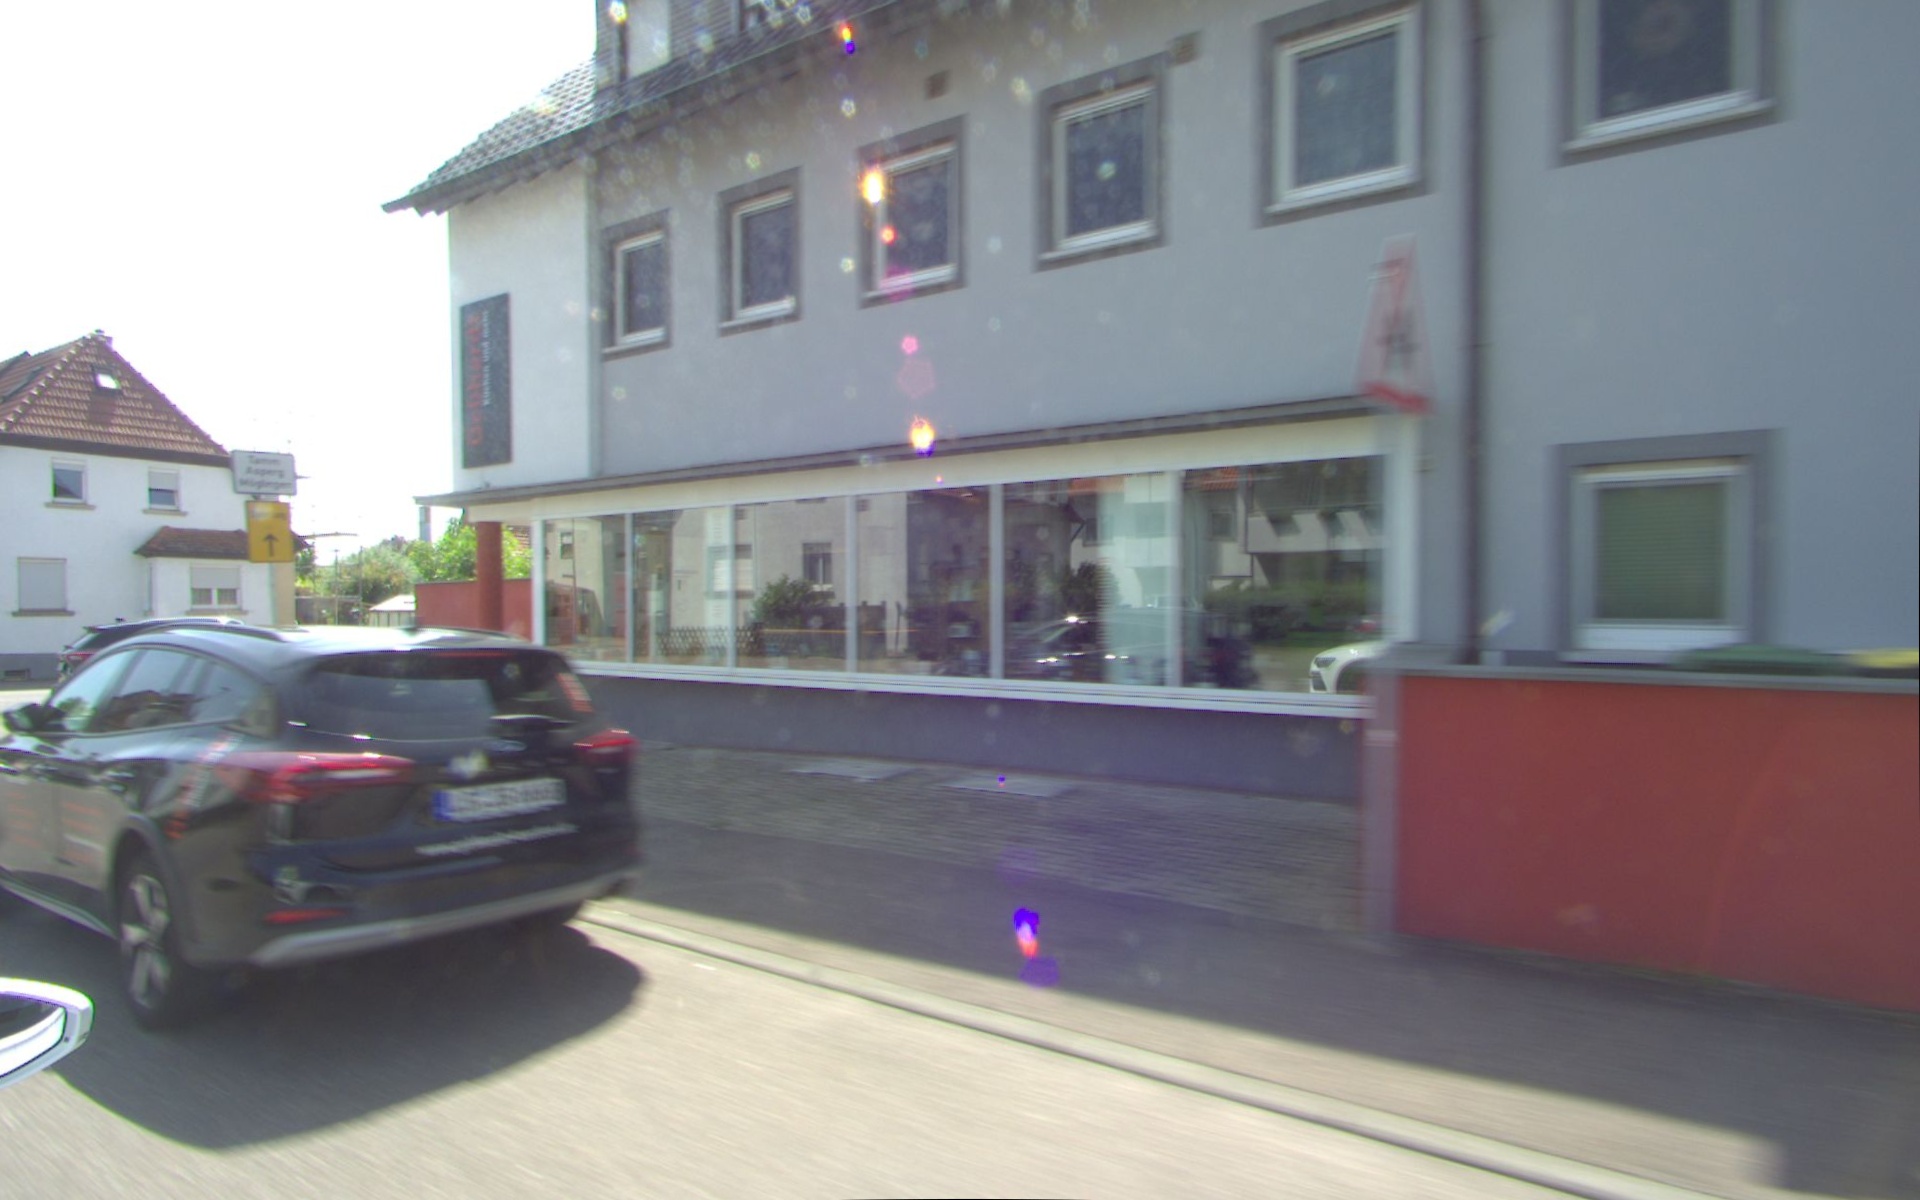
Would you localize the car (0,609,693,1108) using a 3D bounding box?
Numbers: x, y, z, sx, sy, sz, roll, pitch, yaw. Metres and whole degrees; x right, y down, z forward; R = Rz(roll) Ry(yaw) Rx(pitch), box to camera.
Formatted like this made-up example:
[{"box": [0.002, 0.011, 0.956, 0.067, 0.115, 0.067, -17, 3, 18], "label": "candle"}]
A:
[{"box": [-3.495, 0.860, 5.094, 4.347, 1.546, 1.757, -1, -2, 35], "label": "car"}]

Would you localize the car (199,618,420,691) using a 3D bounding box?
[{"box": [-14.817, 1.188, 22.977, 1.674, 1.523, 3.970, -1, -1, 40], "label": "car"}]

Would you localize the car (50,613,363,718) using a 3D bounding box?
[{"box": [-13.547, 1.090, 18.223, 1.826, 1.675, 4.275, -1, -1, 39], "label": "car"}]
